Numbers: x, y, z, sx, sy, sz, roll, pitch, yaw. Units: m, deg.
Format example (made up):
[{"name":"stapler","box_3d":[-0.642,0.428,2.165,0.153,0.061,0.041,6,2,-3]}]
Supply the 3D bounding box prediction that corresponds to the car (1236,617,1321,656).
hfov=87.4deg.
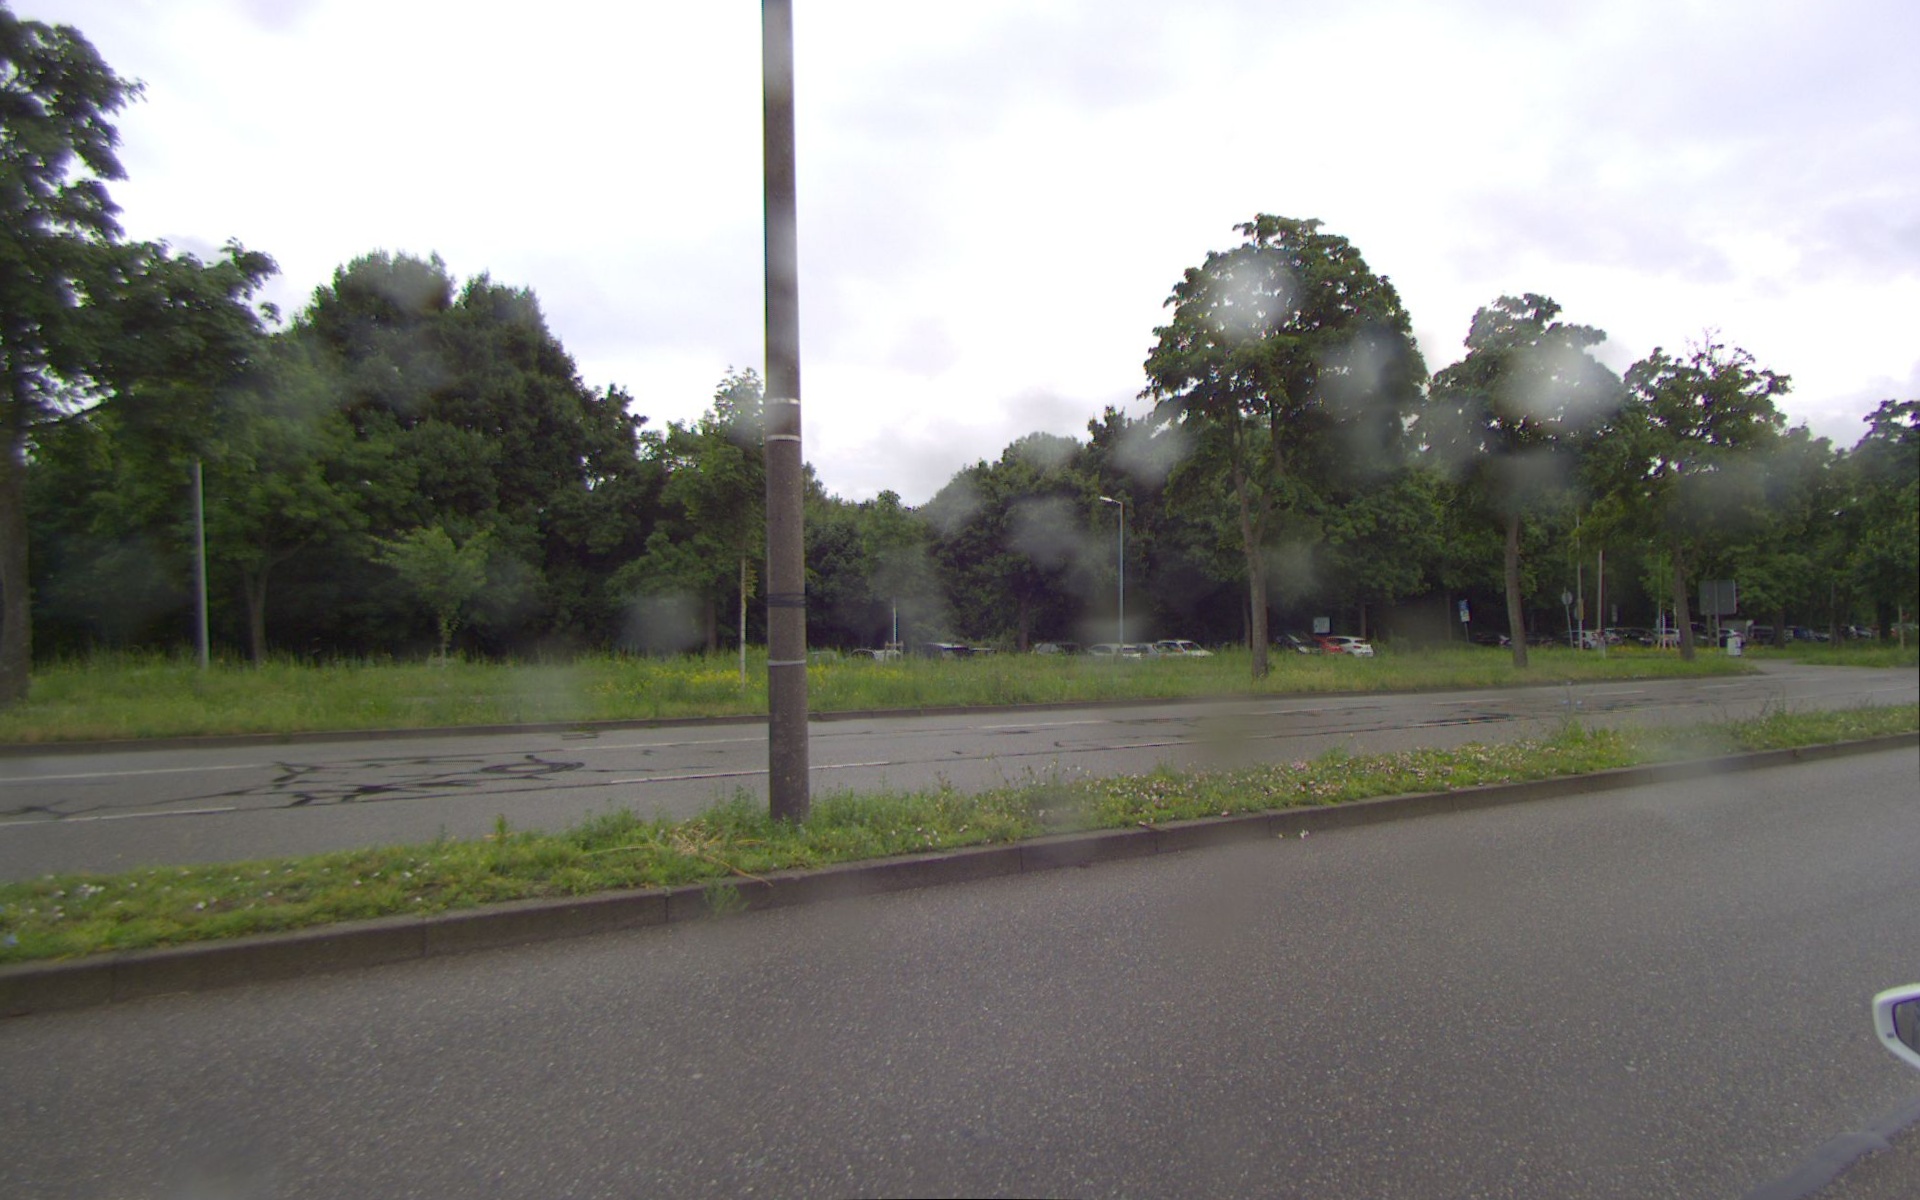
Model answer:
[{"name":"car","box_3d":[17.081,1.935,54.018,1.980,2.040,3.961,1,-2,-35]}]

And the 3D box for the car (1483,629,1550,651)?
[{"name":"car","box_3d":[37.655,2.700,68.057,1.473,1.445,3.710,1,-2,-35]}]

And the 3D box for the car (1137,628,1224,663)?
[{"name":"car","box_3d":[10.977,2.240,50.155,1.980,1.639,3.961,1,-1,-35]}]

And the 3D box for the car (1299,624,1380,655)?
[{"name":"car","box_3d":[21.323,2.180,56.561,1.892,1.661,3.961,1,-2,-35]}]

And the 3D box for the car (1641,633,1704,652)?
[{"name":"car","box_3d":[56.959,3.387,80.352,1.509,1.471,3.811,1,-2,-35]}]

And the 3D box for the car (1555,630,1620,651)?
[{"name":"car","box_3d":[46.098,2.959,73.820,1.509,1.471,3.811,1,-2,-35]}]

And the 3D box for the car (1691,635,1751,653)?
[{"name":"car","box_3d":[64.993,3.723,85.793,1.509,1.471,3.811,1,-2,-35]}]

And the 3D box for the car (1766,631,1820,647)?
[{"name":"car","box_3d":[79.233,3.664,95.550,1.515,1.471,3.797,1,-2,-45]}]

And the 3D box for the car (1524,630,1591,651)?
[{"name":"car","box_3d":[42.047,2.825,70.722,1.509,1.471,3.811,1,-2,-35]}]

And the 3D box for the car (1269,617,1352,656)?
[{"name":"car","box_3d":[19.261,1.993,55.311,1.980,2.040,3.961,1,-2,-35]}]

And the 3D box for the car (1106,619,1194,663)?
[{"name":"car","box_3d":[9.176,1.977,48.740,1.980,2.040,3.961,1,-2,-35]}]

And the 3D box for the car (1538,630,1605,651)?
[{"name":"car","box_3d":[43.943,2.872,72.262,1.509,1.471,3.811,1,-2,-35]}]

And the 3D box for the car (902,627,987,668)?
[{"name":"car","box_3d":[-0.713,1.992,43.143,1.805,1.661,3.961,1,-2,-35]}]

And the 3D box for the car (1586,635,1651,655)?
[{"name":"car","box_3d":[50.125,3.398,76.508,1.509,1.471,3.811,1,-2,-35]}]

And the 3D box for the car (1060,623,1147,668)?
[{"name":"car","box_3d":[6.757,2.103,47.681,1.980,2.040,3.961,1,-2,-35]}]

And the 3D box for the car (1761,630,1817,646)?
[{"name":"car","box_3d":[75.601,3.459,91.644,1.515,1.471,3.797,1,-2,-45]}]
